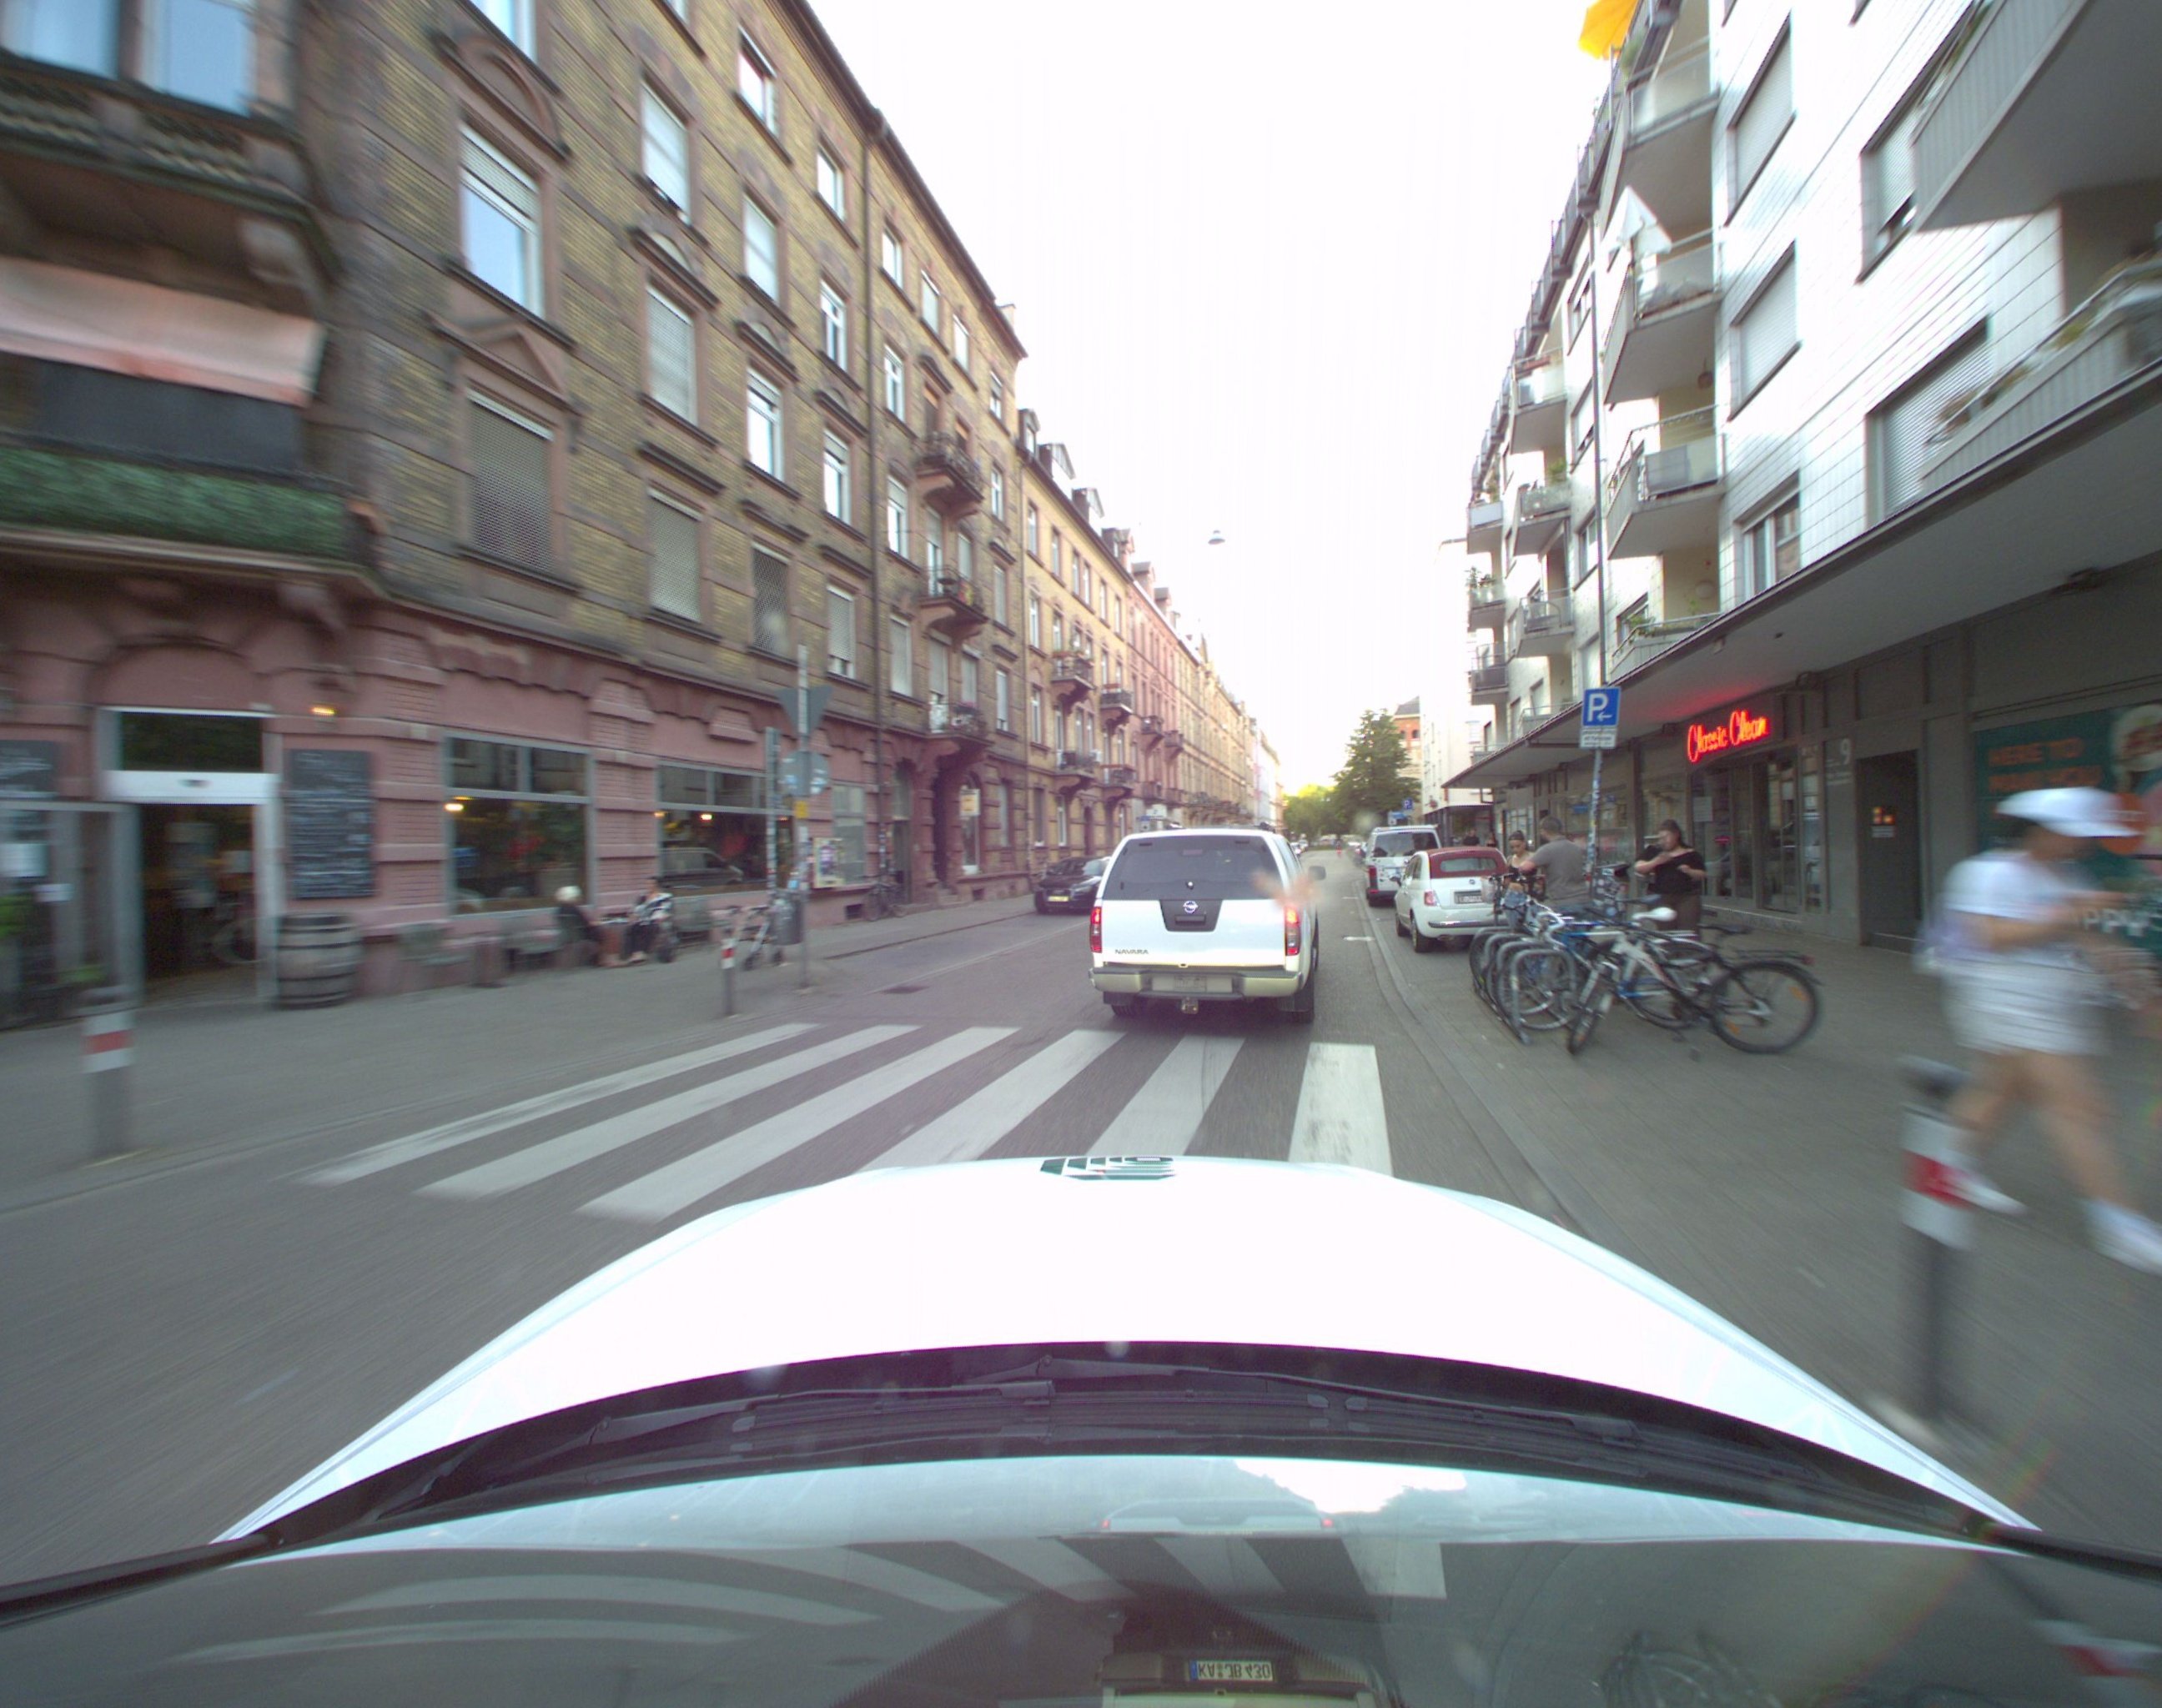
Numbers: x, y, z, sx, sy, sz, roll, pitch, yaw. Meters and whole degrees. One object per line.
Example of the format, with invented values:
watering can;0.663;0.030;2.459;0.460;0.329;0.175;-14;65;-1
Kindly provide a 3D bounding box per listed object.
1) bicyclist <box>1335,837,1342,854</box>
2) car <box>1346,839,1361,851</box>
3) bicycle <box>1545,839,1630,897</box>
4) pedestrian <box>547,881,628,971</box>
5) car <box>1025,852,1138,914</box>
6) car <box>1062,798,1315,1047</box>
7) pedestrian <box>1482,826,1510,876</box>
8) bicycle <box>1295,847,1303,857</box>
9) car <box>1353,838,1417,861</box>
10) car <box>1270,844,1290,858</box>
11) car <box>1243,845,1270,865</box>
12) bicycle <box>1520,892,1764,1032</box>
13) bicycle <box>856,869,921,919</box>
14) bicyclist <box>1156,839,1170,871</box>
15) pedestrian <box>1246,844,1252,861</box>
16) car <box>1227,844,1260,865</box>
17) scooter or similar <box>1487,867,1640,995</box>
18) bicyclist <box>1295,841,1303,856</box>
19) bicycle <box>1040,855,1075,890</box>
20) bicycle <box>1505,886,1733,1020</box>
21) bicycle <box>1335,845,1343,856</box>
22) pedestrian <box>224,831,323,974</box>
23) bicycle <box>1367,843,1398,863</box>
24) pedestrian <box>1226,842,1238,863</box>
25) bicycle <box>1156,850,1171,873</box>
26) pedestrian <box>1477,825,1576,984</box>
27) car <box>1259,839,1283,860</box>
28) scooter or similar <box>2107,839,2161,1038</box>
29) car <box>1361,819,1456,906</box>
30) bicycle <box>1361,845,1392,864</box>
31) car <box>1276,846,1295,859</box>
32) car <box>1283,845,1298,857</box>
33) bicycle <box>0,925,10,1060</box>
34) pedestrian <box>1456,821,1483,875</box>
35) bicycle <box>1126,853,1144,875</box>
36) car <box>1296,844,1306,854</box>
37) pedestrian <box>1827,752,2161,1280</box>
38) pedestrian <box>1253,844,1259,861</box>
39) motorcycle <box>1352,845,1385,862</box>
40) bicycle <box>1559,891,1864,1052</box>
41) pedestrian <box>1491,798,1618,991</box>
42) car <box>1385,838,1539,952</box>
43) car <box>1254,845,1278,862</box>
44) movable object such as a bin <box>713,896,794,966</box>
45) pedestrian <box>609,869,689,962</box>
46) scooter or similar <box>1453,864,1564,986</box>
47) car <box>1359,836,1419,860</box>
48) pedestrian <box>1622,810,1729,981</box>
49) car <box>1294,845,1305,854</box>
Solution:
bicyclist;26.332;-0.886;83.271;0.640;1.760;0.651;-3;0;16
car;36.960;-1.201;110.392;1.662;1.501;3.920;-5;-1;19
bicycle;11.498;0.318;18.568;0.906;1.196;1.713;-4;-1;4
pedestrian;-6.646;0.951;10.985;0.499;1.143;0.795;-1;-1;19
car;0.123;0.692;21.475;1.679;1.420;3.874;-1;1;21
car;1.521;0.492;8.855;1.896;1.853;5.293;0;0;17
pedestrian;14.340;-0.106;28.161;0.701;1.665;0.749;-4;-2;33
bicycle;23.816;-0.190;88.899;0.640;1.081;2.175;-3;0;12
car;23.359;-0.314;62.727;4.393;1.455;1.786;-4;0;12
car;21.189;-0.329;86.753;1.723;1.418;4.800;0;0;17
car;14.087;0.057;65.249;1.703;1.457;4.020;0;1;19
bicycle;4.247;0.825;6.262;1.407;0.984;0.513;-3;-1;15
bicycle;-4.405;0.895;18.763;0.422;1.053;1.908;-1;0;21
bicyclist;4.438;0.063;43.948;0.705;1.729;0.843;-1;-1;2
pedestrian;17.608;-0.188;85.417;0.576;1.771;1.001;1;2;14
car;11.288;0.009;56.428;1.744;1.411;4.530;0;1;18
scooter or similar;4.762;0.755;8.092;1.152;1.171;0.539;-3;1;11
bicyclist;23.789;-0.641;88.914;0.640;1.621;0.921;-3;0;11
bicycle;-0.832;0.645;29.349;0.522;1.171;2.058;1;1;21
bicycle;4.379;0.807;6.743;1.465;1.002;0.513;-3;-2;24
bicycle;26.349;-0.405;83.249;0.640;1.081;1.840;-3;0;16
pedestrian;-10.030;0.570;10.151;0.667;1.695;0.651;-1;4;-29
bicycle;19.744;-0.059;53.337;1.771;1.182;0.738;-6;-2;28
pedestrian;12.496;-0.135;67.488;0.548;1.755;1.029;-1;-1;35
bicycle;4.438;0.413;43.915;0.705;1.196;1.743;-1;-1;3
pedestrian;4.751;0.514;8.703;0.648;1.600;0.587;-3;-1;-22
car;18.155;-0.422;77.697;1.978;1.923;4.972;1;1;15
scooter or similar;7.236;0.516;5.300;0.530;1.203;1.171;-1;1;44
car;8.591;0.167;21.747;1.943;1.973;5.026;-3;0;18
bicycle;18.348;0.030;50.670;1.709;1.118;0.710;-4;-1;16
car;23.898;-0.214;95.228;1.819;1.457;4.226;1;1;18
car;26.837;-0.380;104.350;1.623;1.565;3.798;0;0;17
bicycle;-8.998;1.099;5.656;1.776;1.025;0.608;-2;2;-22
pedestrian;13.650;-0.201;28.606;0.701;1.828;0.866;-4;-2;31
bicycle;2.741;0.482;41.098;0.445;1.022;1.857;2;1;18
car;37.106;-0.824;137.215;1.686;1.552;4.039;0;1;15
pedestrian;3.588;0.495;3.037;0.661;1.651;0.882;-4;-1;-5
pedestrian;18.384;-0.159;85.574;0.601;1.772;0.780;1;2;14
motorcycle;20.884;-0.029;59.190;2.049;1.078;0.664;-3;-1;2
bicycle;4.254;0.799;5.604;1.536;1.001;0.513;-3;-1;15
pedestrian;4.565;0.372;7.894;0.735;1.756;0.661;-3;-1;-7
car;5.816;0.556;12.821;1.580;1.501;3.438;-3;0;16
car;16.483;-0.076;72.446;1.770;1.422;4.505;1;1;16
movable object such as a bin;-4.612;1.074;11.504;0.755;0.916;0.732;-1;-1;14
pedestrian;-6.307;0.877;11.932;0.645;1.254;0.909;1;1;3
scooter or similar;4.692;0.737;8.920;1.168;1.171;0.531;-4;2;-33
car;24.610;-0.481;65.242;4.364;1.647;1.754;-4;0;17
pedestrian;6.024;0.400;8.254;0.717;1.631;0.566;-3;0;45
car;35.326;-0.676;131.529;1.686;1.426;4.039;0;1;15
